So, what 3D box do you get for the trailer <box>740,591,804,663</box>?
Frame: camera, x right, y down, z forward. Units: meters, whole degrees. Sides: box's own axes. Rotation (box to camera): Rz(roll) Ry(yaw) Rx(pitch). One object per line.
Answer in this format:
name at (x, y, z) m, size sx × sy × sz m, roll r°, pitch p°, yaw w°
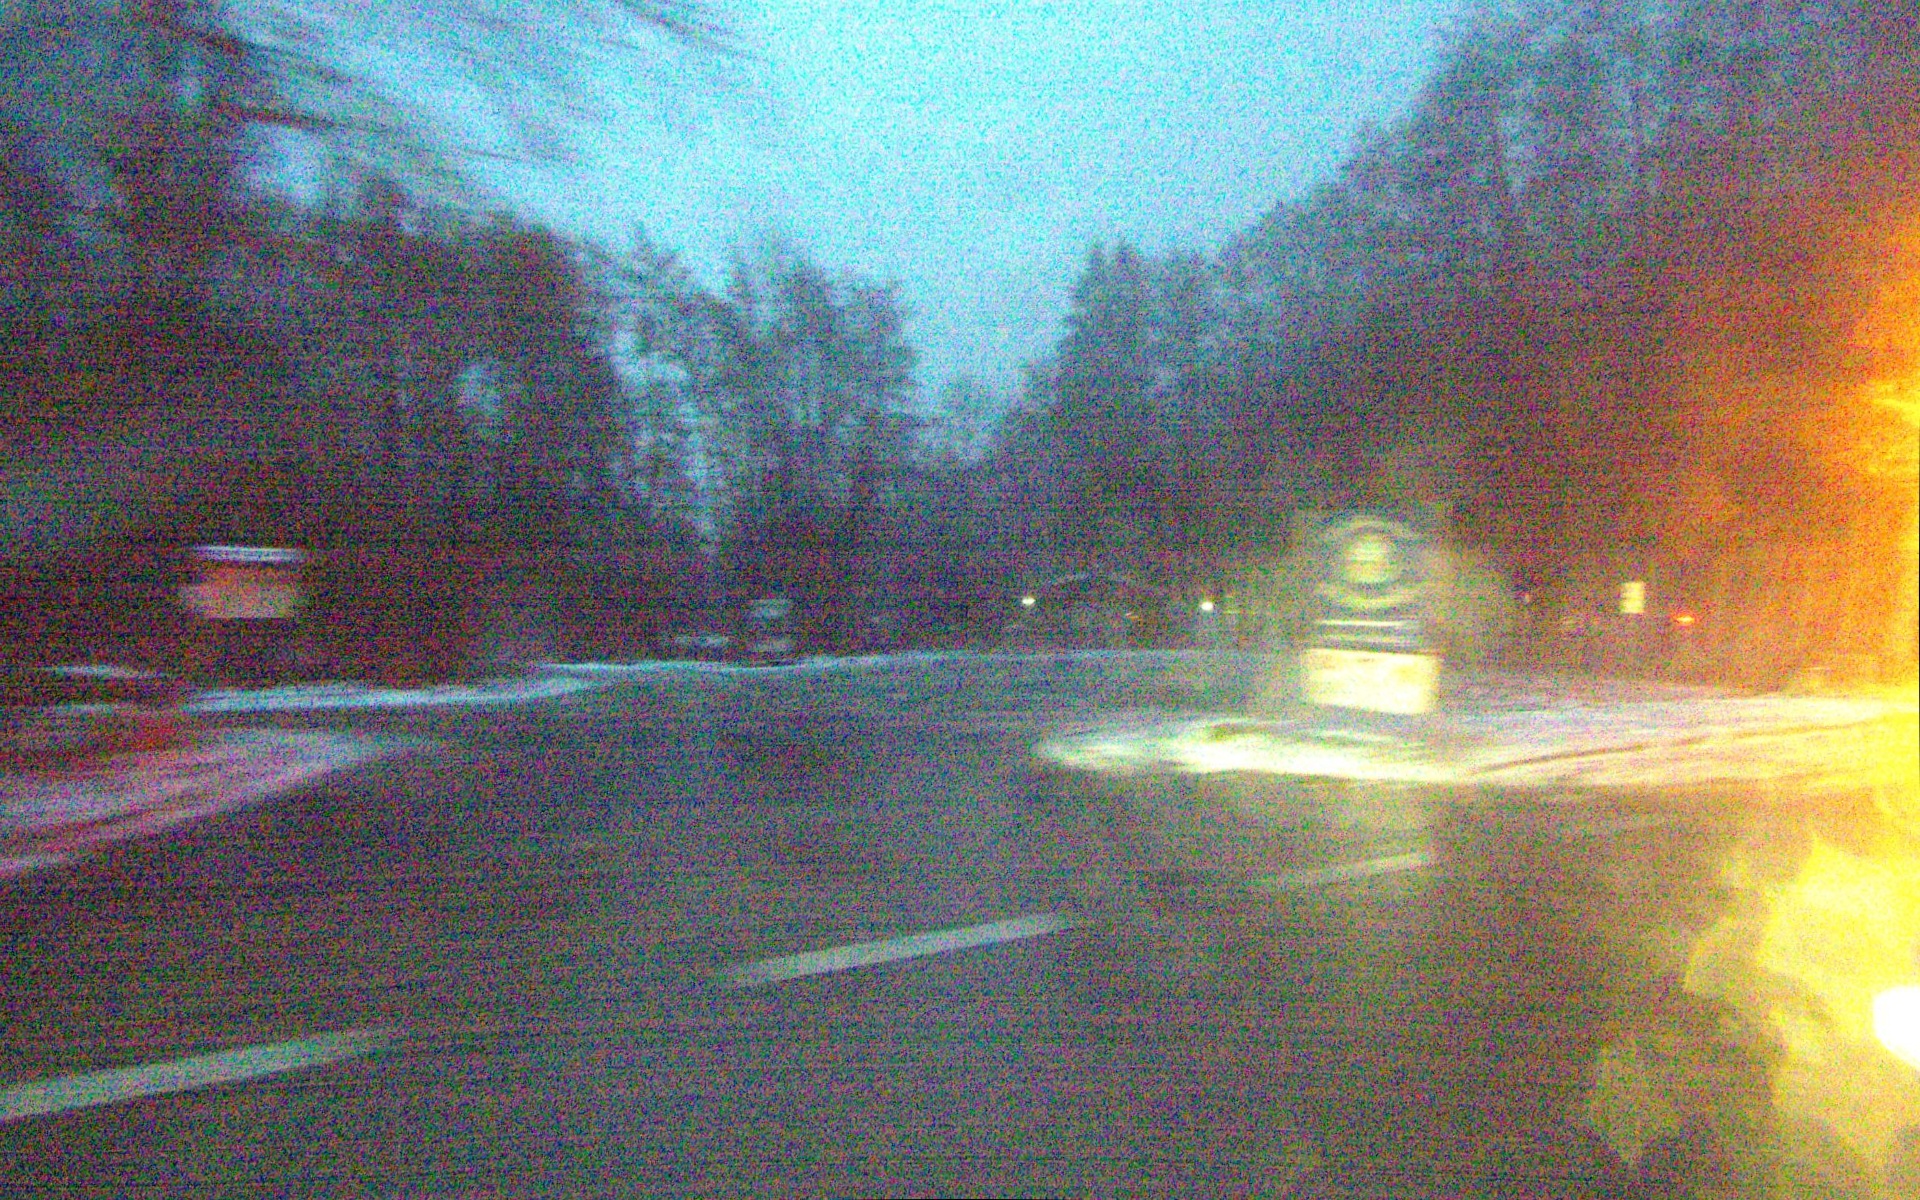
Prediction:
trailer at (-6.351, 0.949, 34.023) m, size 1.939 × 2.246 × 3.804 m, roll 2°, pitch -3°, yaw -10°
